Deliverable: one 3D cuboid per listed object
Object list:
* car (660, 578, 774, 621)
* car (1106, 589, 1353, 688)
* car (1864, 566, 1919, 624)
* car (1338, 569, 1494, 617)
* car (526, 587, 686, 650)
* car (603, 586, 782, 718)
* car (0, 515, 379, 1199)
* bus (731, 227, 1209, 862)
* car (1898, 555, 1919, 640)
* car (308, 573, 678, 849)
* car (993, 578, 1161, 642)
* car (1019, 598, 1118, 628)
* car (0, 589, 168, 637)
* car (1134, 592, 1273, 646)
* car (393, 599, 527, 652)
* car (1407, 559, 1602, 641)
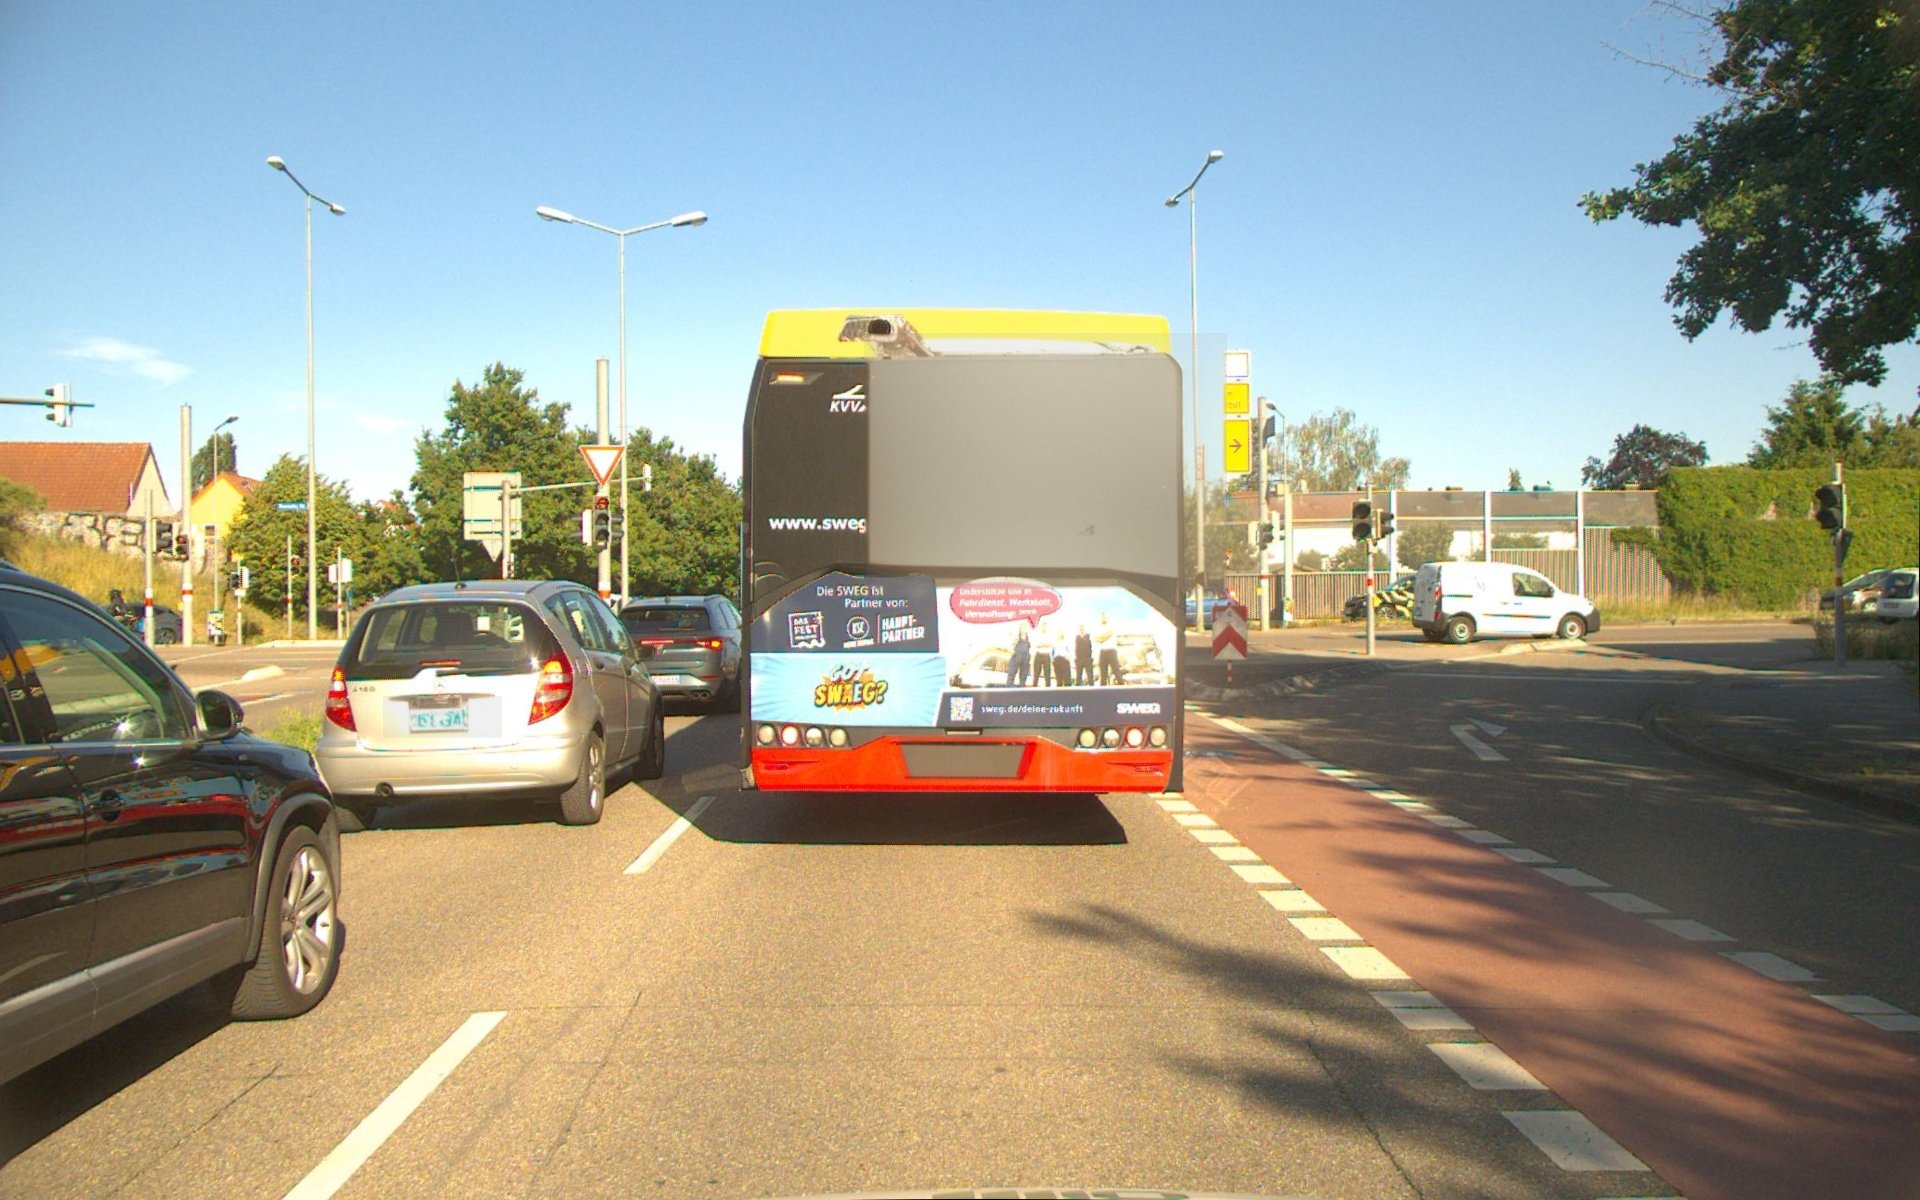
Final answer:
[{"bbox_3d":[-7.672,-0.015,52.362,3.453,1.325,1.573,0,0,-4],"label":"car"},{"bbox_3d":[3.919,0.538,24.301,3.447,1.325,1.576,1,1,8],"label":"car"},{"bbox_3d":[26.406,-0.138,44.311,3.600,1.512,1.591,-1,-1,-7],"label":"car"},{"bbox_3d":[13.208,-0.194,47.975,4.078,1.325,1.573,1,-1,-4],"label":"car"},{"bbox_3d":[-10.334,0.550,48.588,4.443,1.745,1.996,1,-1,-9],"label":"car"},{"bbox_3d":[-3.299,0.615,21.005,1.555,1.512,3.683,-1,-1,2],"label":"car"},{"bbox_3d":[-3.172,0.684,4.520,1.784,1.703,4.001,-2,-1,-1],"label":"car"},{"bbox_3d":[-0.031,-0.322,14.905,2.543,3.393,11.981,1,0,-1],"label":"bus"},{"bbox_3d":[16.484,-0.016,25.983,3.355,1.318,1.448,1,-1,-26],"label":"car"},{"bbox_3d":[-3.205,0.646,12.181,1.719,1.648,4.032,-1,1,-3],"label":"car"},{"bbox_3d":[3.028,0.268,43.247,4.139,1.590,1.761,1,-1,-6],"label":"car"},{"bbox_3d":[4.229,0.488,64.858,3.698,1.156,1.567,0,0,39],"label":"car"},{"bbox_3d":[-25.153,0.368,47.301,4.204,1.325,1.573,0,0,-4],"label":"car"},{"bbox_3d":[7.484,0.587,50.998,3.911,1.580,1.693,1,-1,-8],"label":"car"},{"bbox_3d":[-16.283,0.822,53.979,3.910,1.640,1.693,0,0,-7],"label":"car"},{"bbox_3d":[12.626,0.003,38.446,4.031,1.832,1.456,-1,-1,-5],"label":"car"}]
